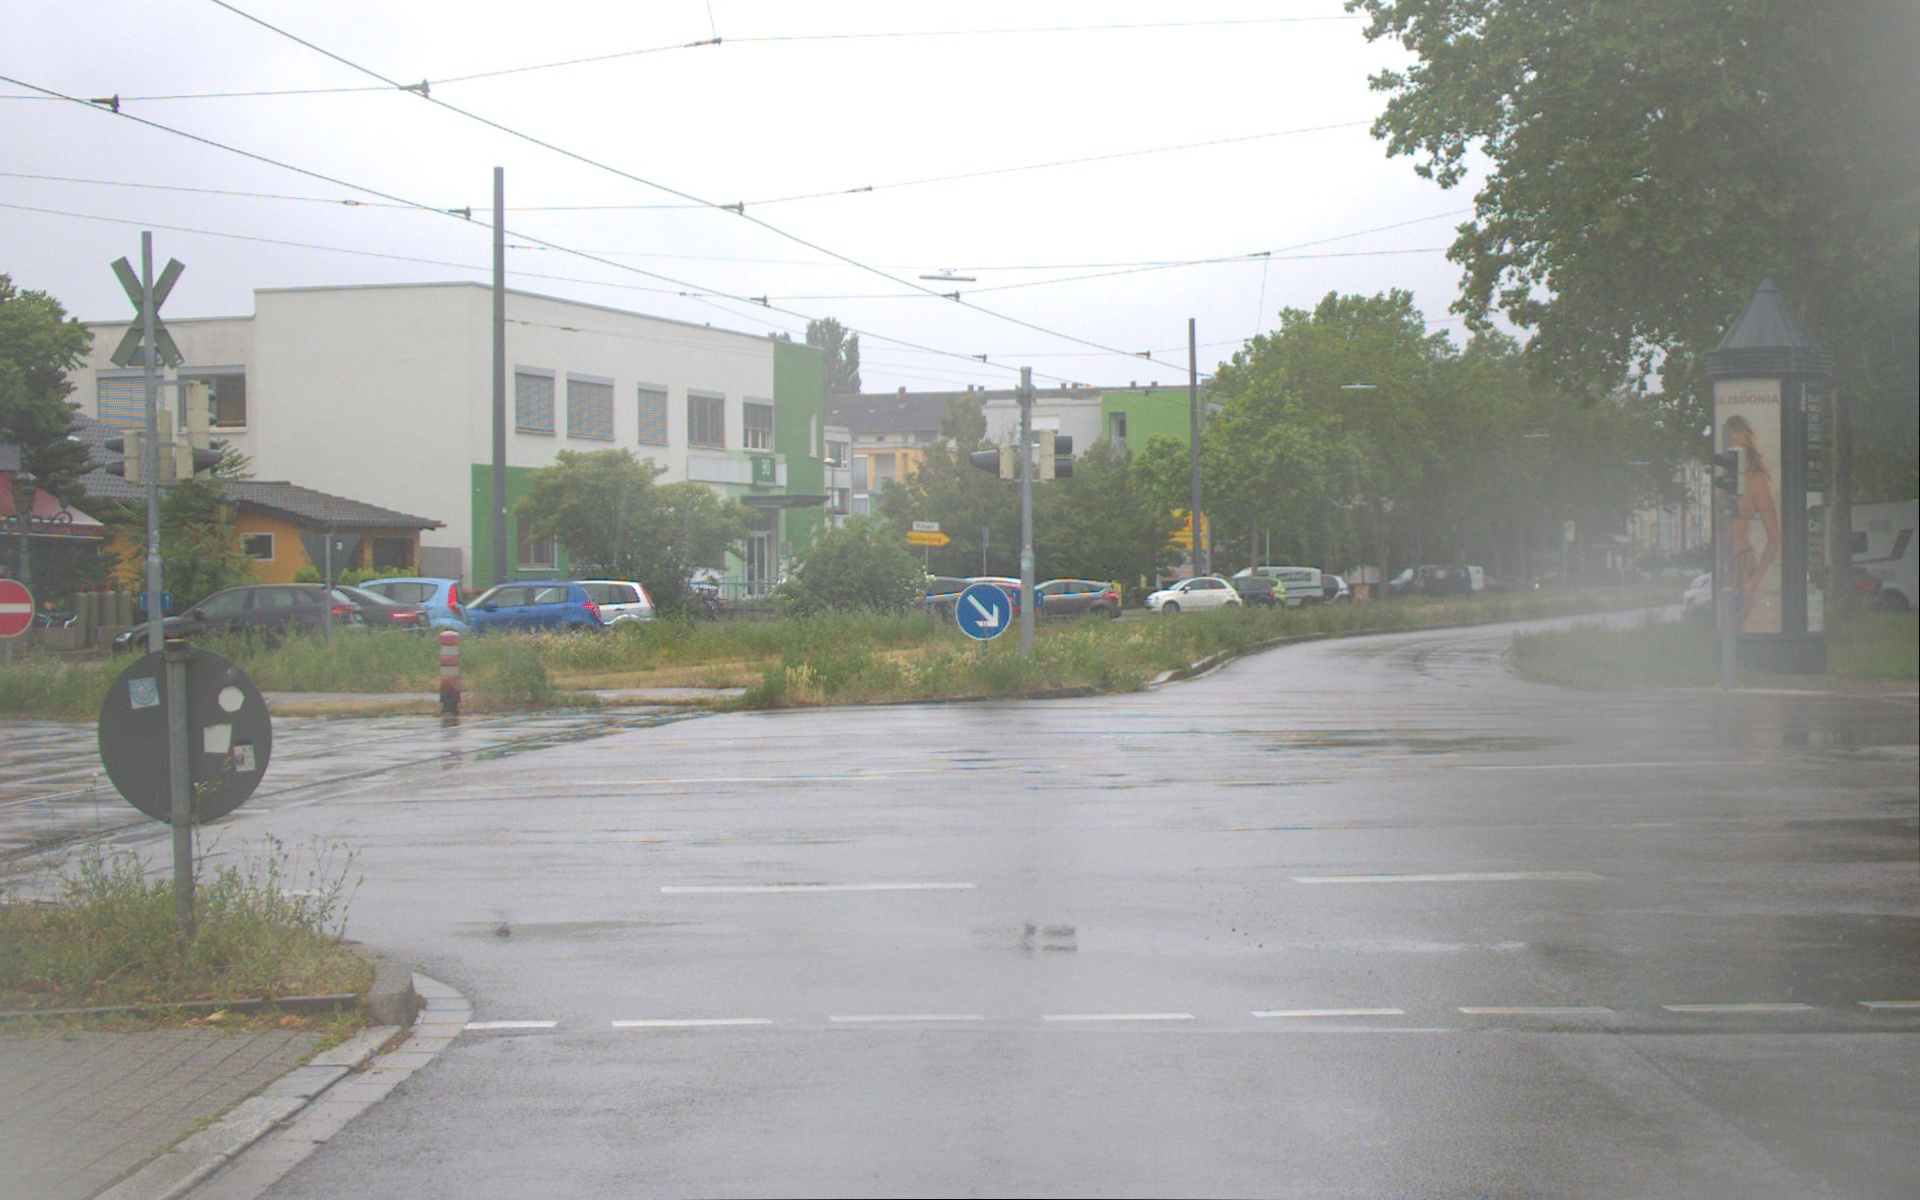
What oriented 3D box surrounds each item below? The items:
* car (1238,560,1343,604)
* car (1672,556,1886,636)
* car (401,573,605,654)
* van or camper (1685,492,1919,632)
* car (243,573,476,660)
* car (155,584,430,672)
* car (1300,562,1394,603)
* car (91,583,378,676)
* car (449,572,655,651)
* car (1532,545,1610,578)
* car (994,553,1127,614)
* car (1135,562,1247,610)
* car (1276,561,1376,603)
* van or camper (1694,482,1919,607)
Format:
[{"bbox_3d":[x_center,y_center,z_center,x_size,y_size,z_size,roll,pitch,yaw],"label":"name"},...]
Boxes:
[{"bbox_3d":[13.922,-0.756,144.843,3.986,1.753,2.011,1,0,-11],"label":"car"},{"bbox_3d":[18.478,-0.100,77.545,4.449,1.711,1.998,1,0,21],"label":"car"},{"bbox_3d":[-9.285,0.263,69.752,3.986,1.576,1.930,0,0,-11],"label":"car"},{"bbox_3d":[20.867,-0.888,80.410,7.328,3.167,3.259,1,0,18],"label":"van or camper"},{"bbox_3d":[-11.270,0.302,64.657,3.987,1.576,1.858,0,0,4],"label":"car"},{"bbox_3d":[-11.869,0.488,61.308,4.497,1.413,1.858,-2,0,1],"label":"car"},{"bbox_3d":[17.879,-0.818,158.877,3.986,1.826,2.000,1,0,-5],"label":"car"},{"bbox_3d":[-12.399,0.492,58.944,4.477,1.413,1.858,-2,0,1],"label":"car"},{"bbox_3d":[-8.657,0.231,72.868,4.107,1.635,1.930,0,0,-14],"label":"car"},{"bbox_3d":[35.301,-2.237,198.650,3.986,1.826,2.000,1,0,-5],"label":"car"},{"bbox_3d":[3.207,-0.529,110.098,3.986,1.881,2.000,1,0,-7],"label":"car"},{"bbox_3d":[8.494,-0.528,126.727,3.773,1.697,1.837,1,0,-10],"label":"car"},{"bbox_3d":[16.358,-0.810,153.807,3.986,1.826,2.001,1,0,-11],"label":"car"},{"bbox_3d":[23.153,-1.428,89.523,7.434,3.167,3.259,1,0,22],"label":"van or camper"}]
